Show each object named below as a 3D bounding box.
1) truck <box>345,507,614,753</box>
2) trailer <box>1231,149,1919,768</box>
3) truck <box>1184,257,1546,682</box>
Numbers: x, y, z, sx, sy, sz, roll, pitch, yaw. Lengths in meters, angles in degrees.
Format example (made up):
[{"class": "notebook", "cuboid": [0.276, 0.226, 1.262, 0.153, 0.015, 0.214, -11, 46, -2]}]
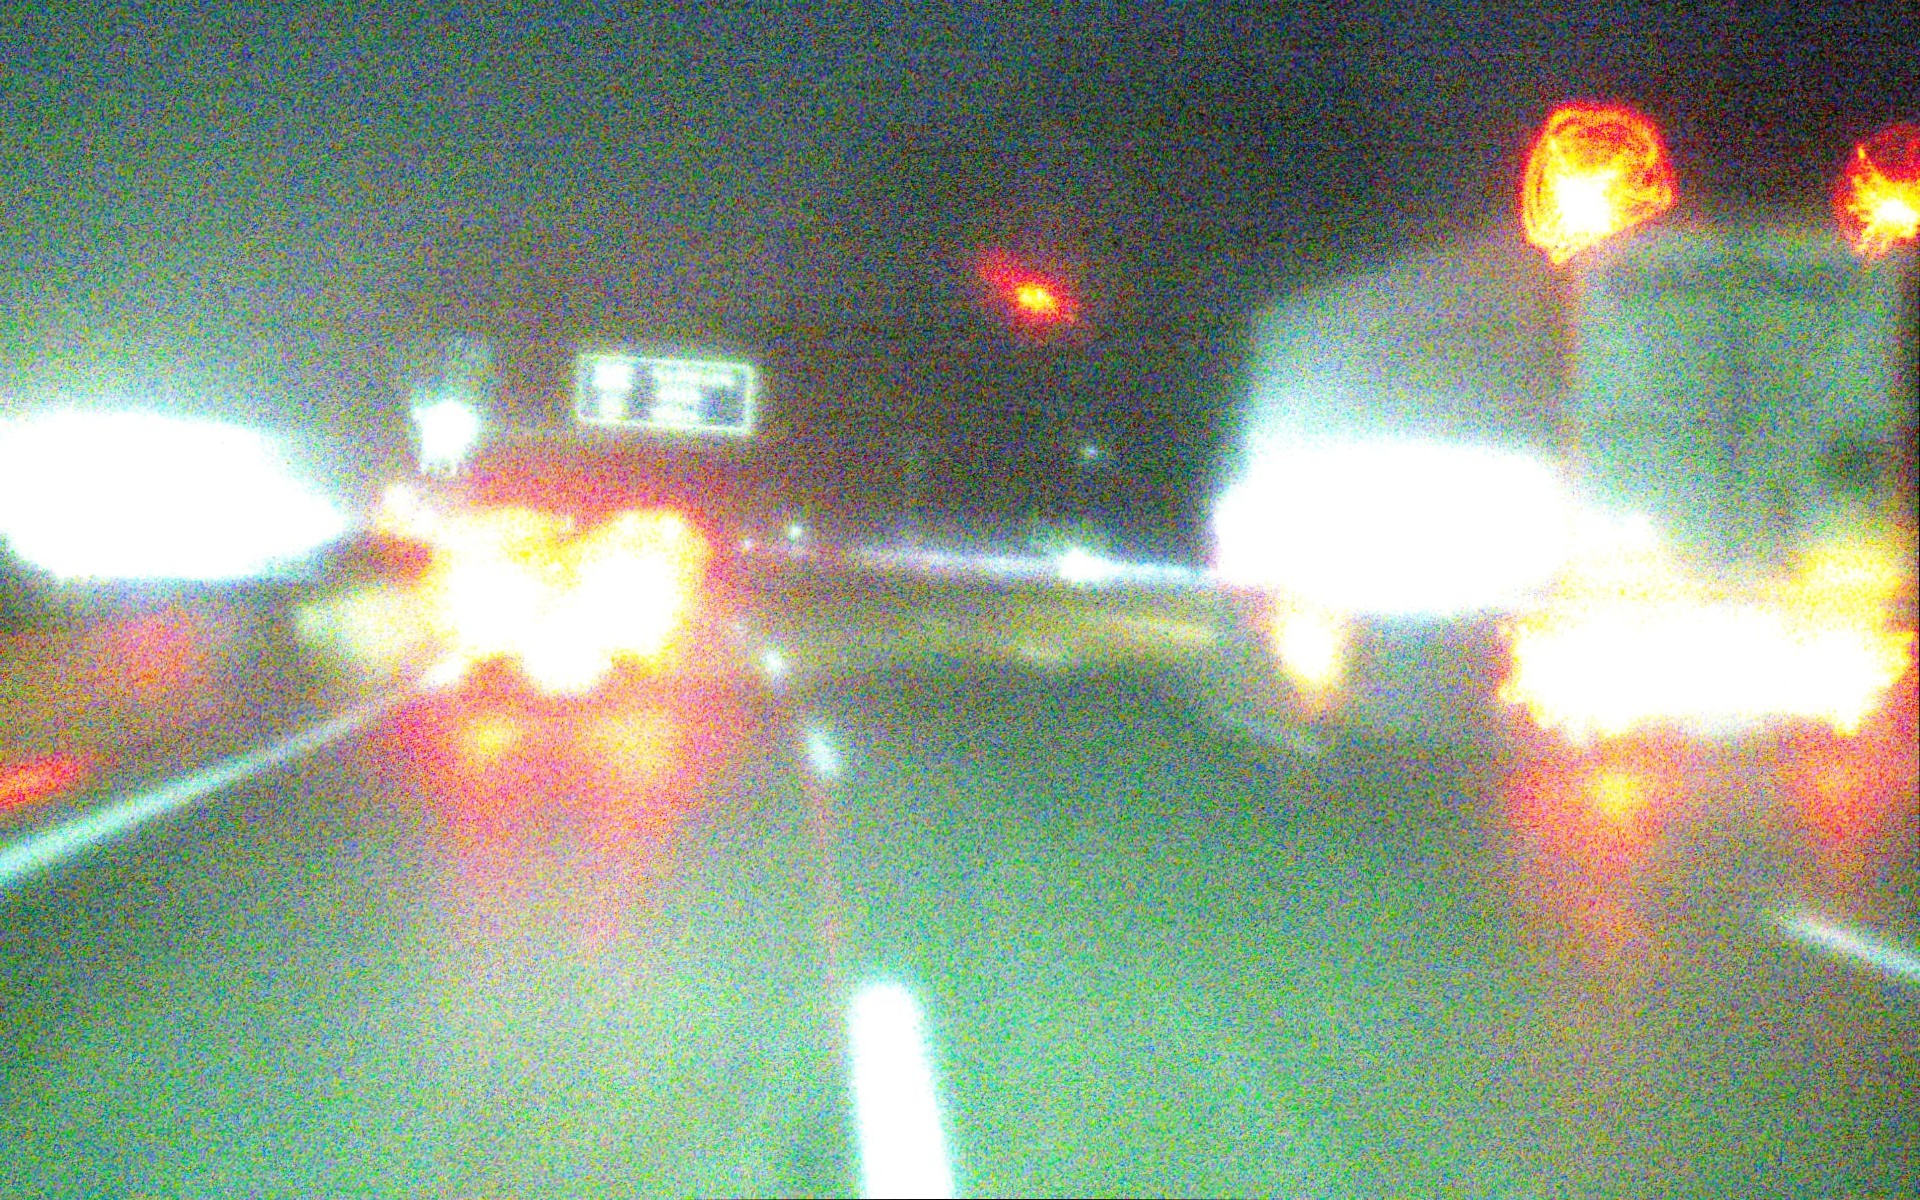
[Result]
[{"class": "truck", "cuboid": [-4.677, 0.206, 34.410, 2.144, 2.070, 6.605, 4, 1, -5]}, {"class": "trailer", "cuboid": [4.952, -1.118, 30.485, 2.738, 4.233, 13.374, -1, 1, -5]}, {"class": "truck", "cuboid": [4.257, -1.354, 37.253, 2.710, 4.227, 5.294, 1, 1, -6]}]
